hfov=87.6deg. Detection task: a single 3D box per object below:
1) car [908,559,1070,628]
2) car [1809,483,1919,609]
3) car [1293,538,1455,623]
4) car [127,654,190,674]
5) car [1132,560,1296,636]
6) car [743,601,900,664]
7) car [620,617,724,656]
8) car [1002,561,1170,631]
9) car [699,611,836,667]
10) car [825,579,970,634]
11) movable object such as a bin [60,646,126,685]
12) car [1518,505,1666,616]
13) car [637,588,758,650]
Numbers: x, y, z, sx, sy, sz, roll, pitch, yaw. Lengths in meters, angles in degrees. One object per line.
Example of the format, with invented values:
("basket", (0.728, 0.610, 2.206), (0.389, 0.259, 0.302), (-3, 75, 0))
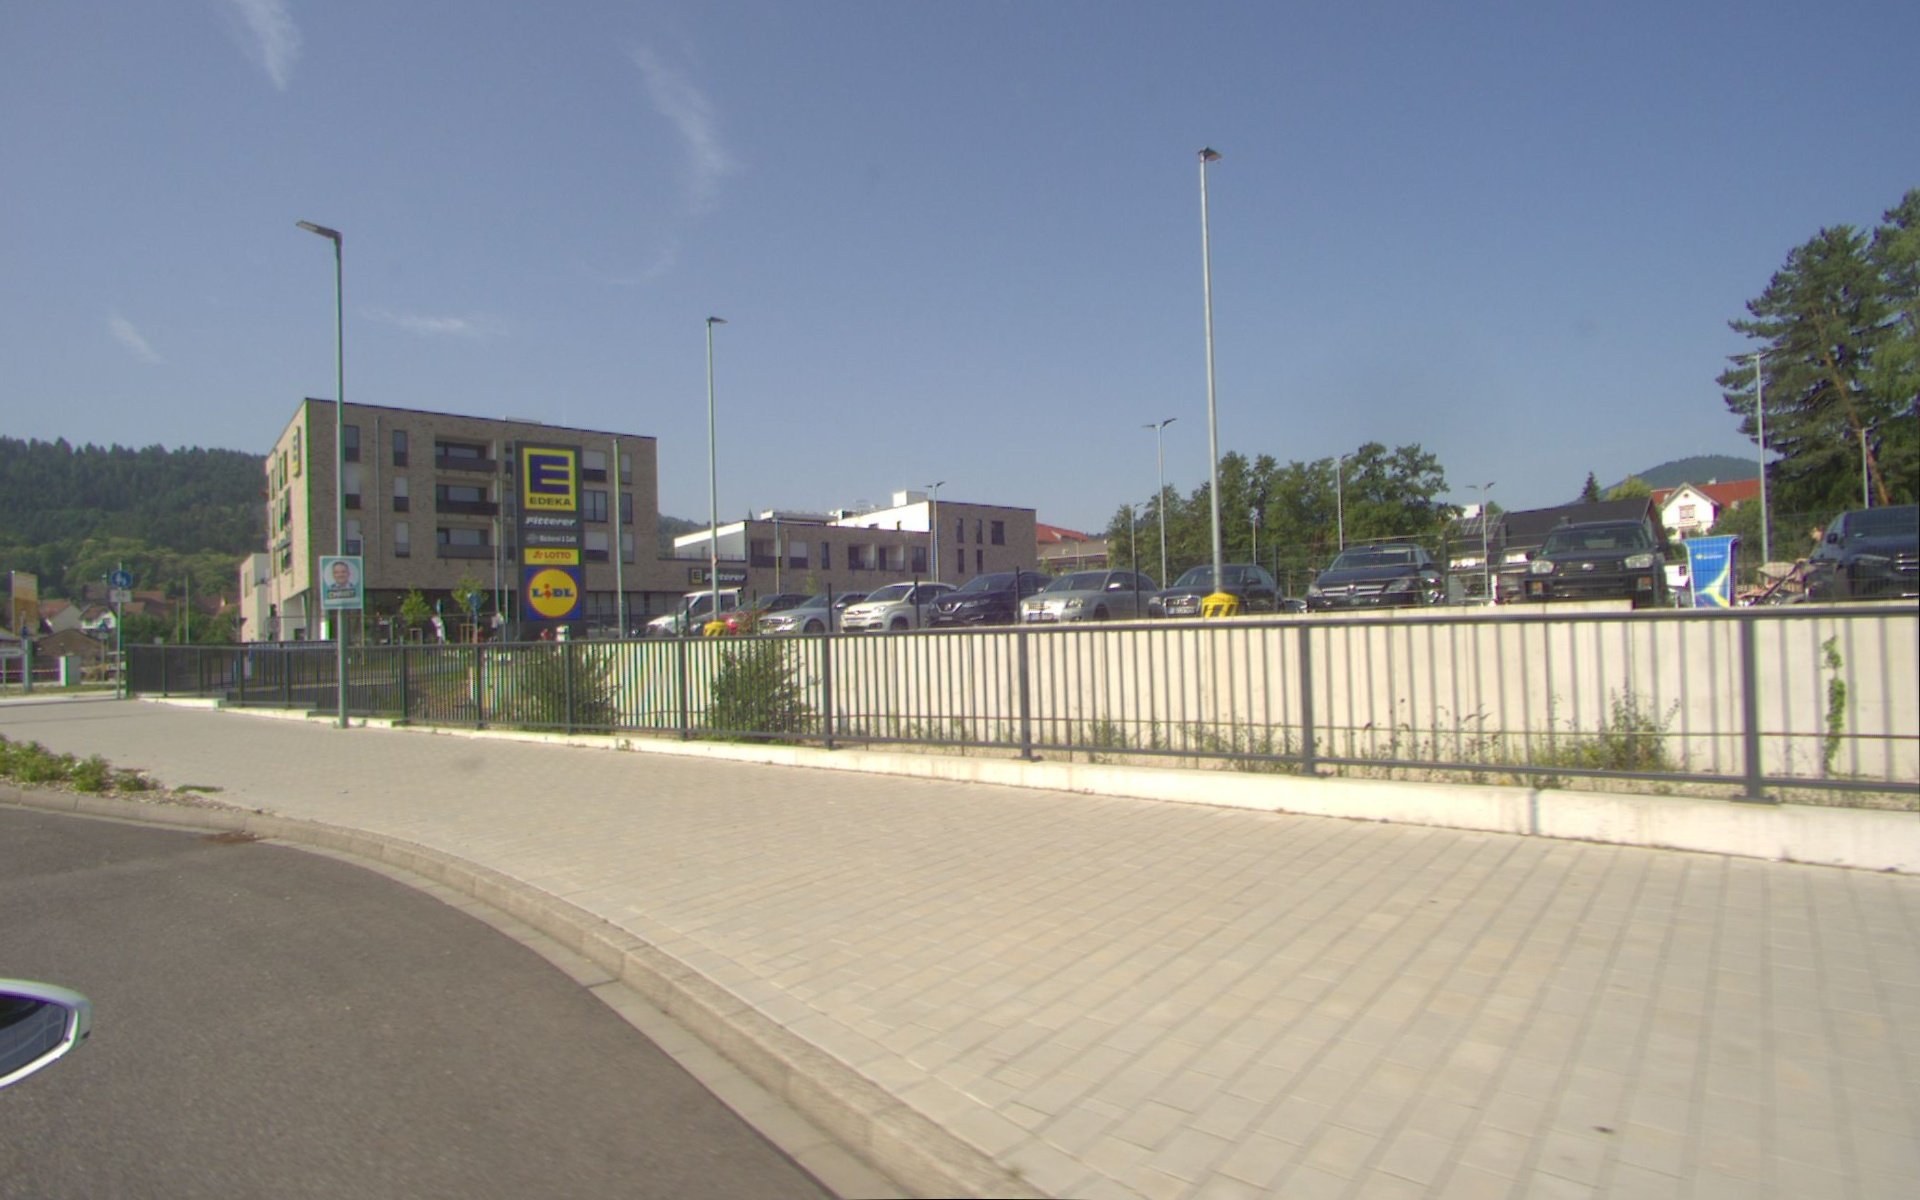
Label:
("car", (0.742, -0.074, 22.514), (1.639, 1.359, 4.024), (-2, -2, 36))
("car", (12.719, -0.645, 13.589), (1.467, 1.422, 4.050), (-2, -2, 36))
("car", (7.427, -0.259, 17.720), (1.721, 1.261, 4.201), (-2, -3, 36))
("car", (-59.882, 4.775, 74.888), (1.451, 1.320, 3.462), (-3, -3, 38))
("car", (4.940, 0.032, 19.109), (1.708, 1.261, 3.955), (-2, -3, 36))
("car", (-3.554, 0.858, 26.313), (1.696, 1.506, 4.041), (-2, -3, 38))
("car", (-12.286, 1.555, 42.779), (3.943, 1.465, 1.669), (-1, -2, -31))
("car", (2.732, -0.011, 20.881), (1.643, 1.261, 4.266), (-2, -3, 36))
("car", (-5.311, 1.074, 27.933), (1.689, 1.448, 3.545), (-2, -2, 36))
("car", (-1.473, 0.210, 24.590), (1.693, 1.214, 3.545), (-2, -3, 36))
("movable object such as a bin", (-44.278, 3.346, 51.148), (1.415, 1.867, 2.428), (-4, -3, 45))
("car", (9.980, -0.507, 15.688), (1.703, 1.422, 3.993), (-2, -2, 36))
("car", (-9.889, 0.697, 37.785), (3.945, 2.163, 1.989), (-1, -2, -33))
